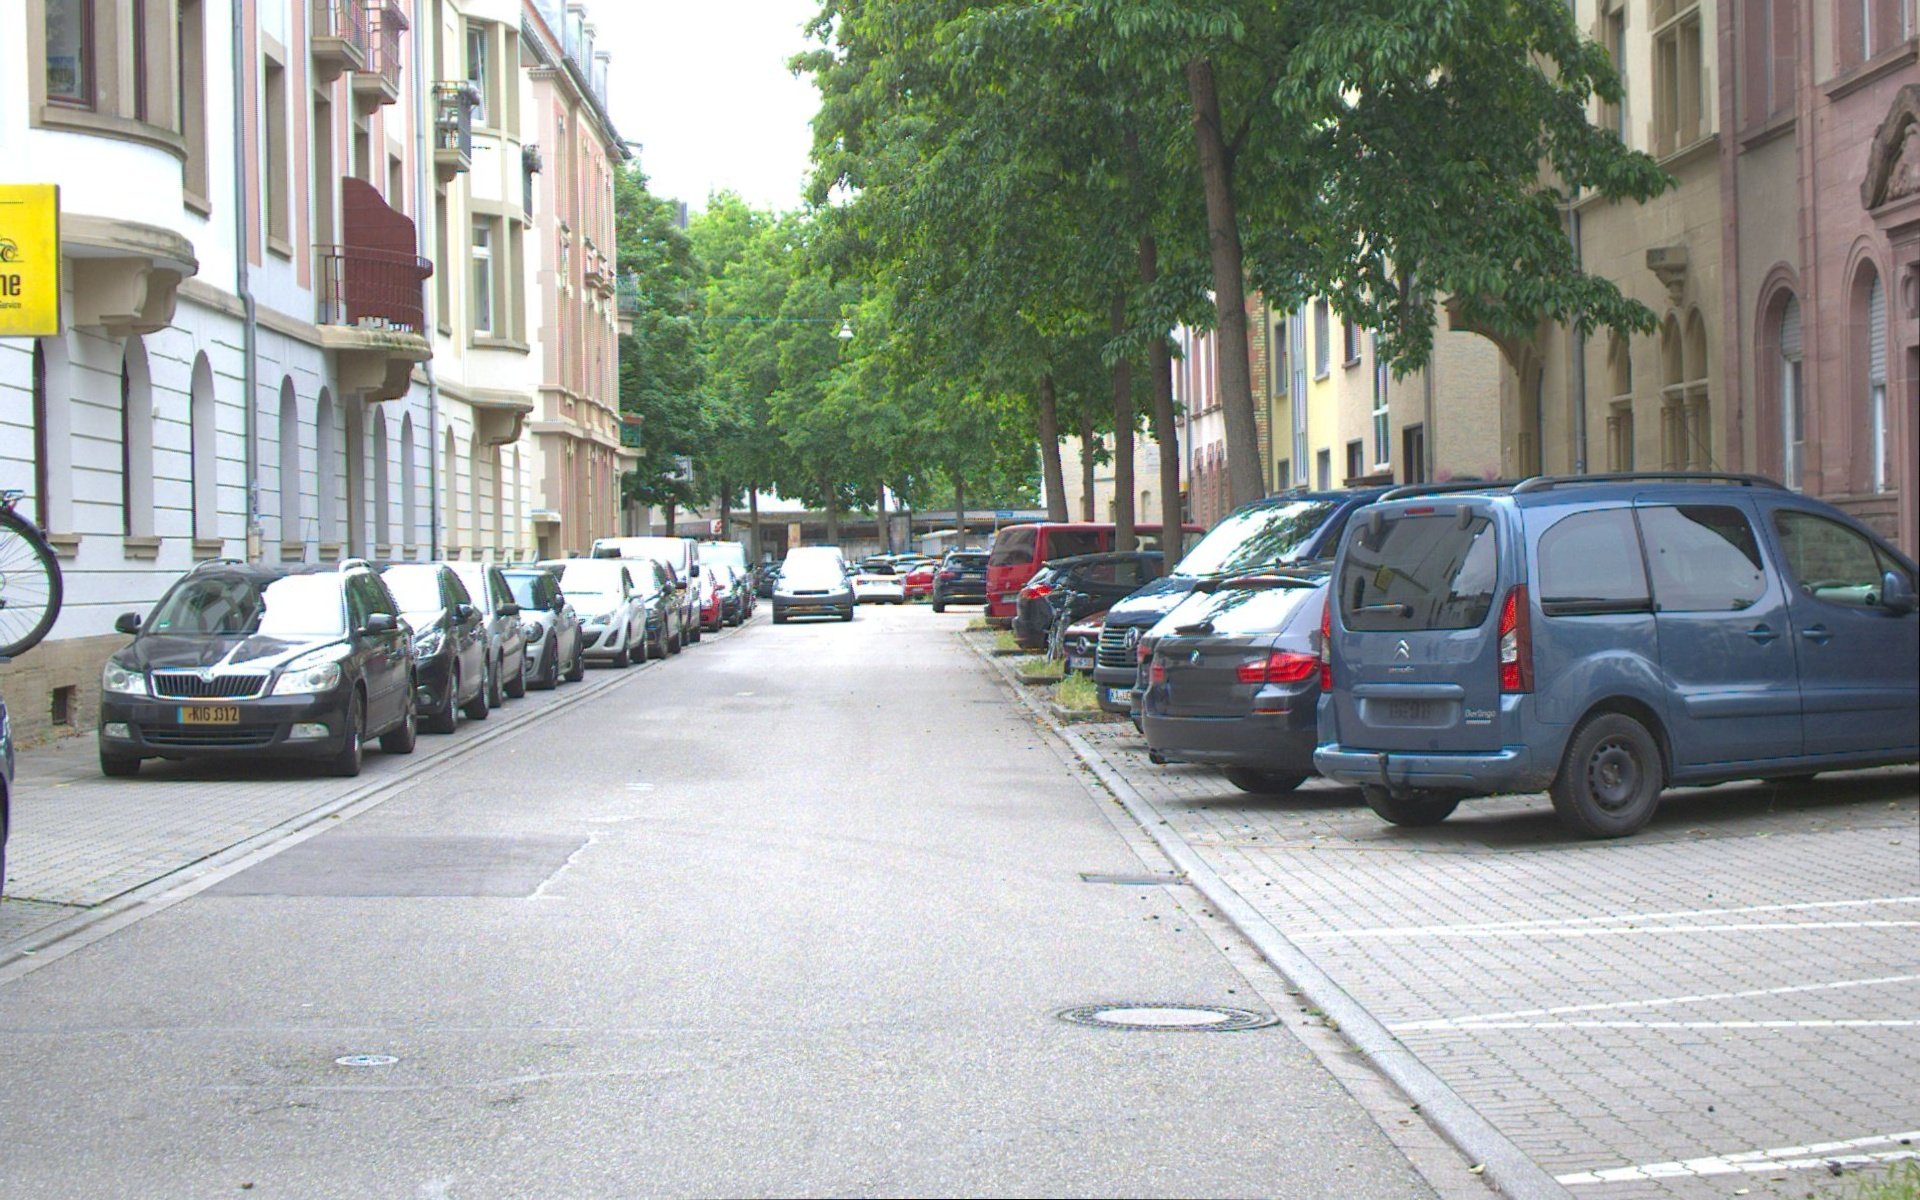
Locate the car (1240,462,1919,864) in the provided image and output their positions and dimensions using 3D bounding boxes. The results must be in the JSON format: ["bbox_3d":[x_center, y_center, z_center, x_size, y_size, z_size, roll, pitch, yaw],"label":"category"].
[{"bbox_3d":[3.853,0.269,18.629,4.172,1.863,2.000,-4,0,-30],"label":"car"}]

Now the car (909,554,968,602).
[{"bbox_3d":[-0.741,-0.749,114.625,1.870,1.525,3.840,-1,1,-2],"label":"car"}]

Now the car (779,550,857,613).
[{"bbox_3d":[-3.856,-0.514,93.903,1.908,1.672,4.000,-1,1,0],"label":"car"}]

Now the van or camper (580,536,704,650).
[{"bbox_3d":[-5.823,-0.146,63.337,1.881,1.961,4.408,-2,1,-1],"label":"van or camper"}]

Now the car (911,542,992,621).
[{"bbox_3d":[-0.258,-0.517,91.866,1.993,2.007,4.000,2,1,-2],"label":"car"}]

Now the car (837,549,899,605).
[{"bbox_3d":[-3.014,-0.732,112.372,1.993,1.788,4.000,0,0,-2],"label":"car"}]

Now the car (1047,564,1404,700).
[{"bbox_3d":[2.917,0.335,38.156,3.709,1.403,1.576,-1,1,-6],"label":"car"}]

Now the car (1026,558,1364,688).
[{"bbox_3d":[2.772,0.259,41.044,3.760,1.460,1.729,-1,1,-6],"label":"car"}]

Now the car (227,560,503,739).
[{"bbox_3d":[-5.160,0.386,30.253,1.829,1.422,3.801,2,1,-2],"label":"car"}]

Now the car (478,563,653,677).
[{"bbox_3d":[-5.380,0.242,47.348,1.993,1.470,4.000,-1,1,-1],"label":"car"}]

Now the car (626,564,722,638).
[{"bbox_3d":[-6.322,0.002,76.425,1.786,1.450,3.888,-4,1,-1],"label":"car"}]

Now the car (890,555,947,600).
[{"bbox_3d":[-1.447,-0.796,119.002,1.870,1.525,4.000,-1,1,-2],"label":"car"}]

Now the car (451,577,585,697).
[{"bbox_3d":[-5.107,0.399,39.978,1.209,1.305,3.261,-1,1,-2],"label":"car"}]

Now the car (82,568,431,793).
[{"bbox_3d":[-4.947,0.509,24.676,1.789,1.475,4.023,0,1,-2],"label":"car"}]

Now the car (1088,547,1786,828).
[{"bbox_3d":[3.000,0.483,21.449,4.010,1.554,1.884,-1,1,-32],"label":"car"}]

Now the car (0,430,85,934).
[{"bbox_3d":[-4.804,0.351,12.608,1.993,2.007,4.891,-1,1,-1],"label":"car"}]

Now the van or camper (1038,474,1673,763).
[{"bbox_3d":[3.198,0.087,27.474,4.775,2.130,2.055,-1,1,-32],"label":"van or camper"}]

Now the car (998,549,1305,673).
[{"bbox_3d":[2.497,0.129,45.350,3.760,1.460,1.729,-2,1,-6],"label":"car"}]

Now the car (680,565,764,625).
[{"bbox_3d":[-5.620,-0.132,81.606,1.786,1.369,3.888,-1,1,-1],"label":"car"}]

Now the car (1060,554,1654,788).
[{"bbox_3d":[2.839,0.457,24.464,3.861,1.494,1.802,-1,1,-30],"label":"car"}]

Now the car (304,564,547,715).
[{"bbox_3d":[-5.424,0.364,35.354,1.947,1.398,4.000,2,1,-2],"label":"car"}]

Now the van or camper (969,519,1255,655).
[{"bbox_3d":[2.447,-0.234,55.090,4.146,2.078,1.953,-1,1,-29],"label":"van or camper"}]

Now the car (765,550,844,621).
[{"bbox_3d":[-3.714,-0.361,82.464,1.821,1.639,3.754,-1,1,-2],"label":"car"}]
